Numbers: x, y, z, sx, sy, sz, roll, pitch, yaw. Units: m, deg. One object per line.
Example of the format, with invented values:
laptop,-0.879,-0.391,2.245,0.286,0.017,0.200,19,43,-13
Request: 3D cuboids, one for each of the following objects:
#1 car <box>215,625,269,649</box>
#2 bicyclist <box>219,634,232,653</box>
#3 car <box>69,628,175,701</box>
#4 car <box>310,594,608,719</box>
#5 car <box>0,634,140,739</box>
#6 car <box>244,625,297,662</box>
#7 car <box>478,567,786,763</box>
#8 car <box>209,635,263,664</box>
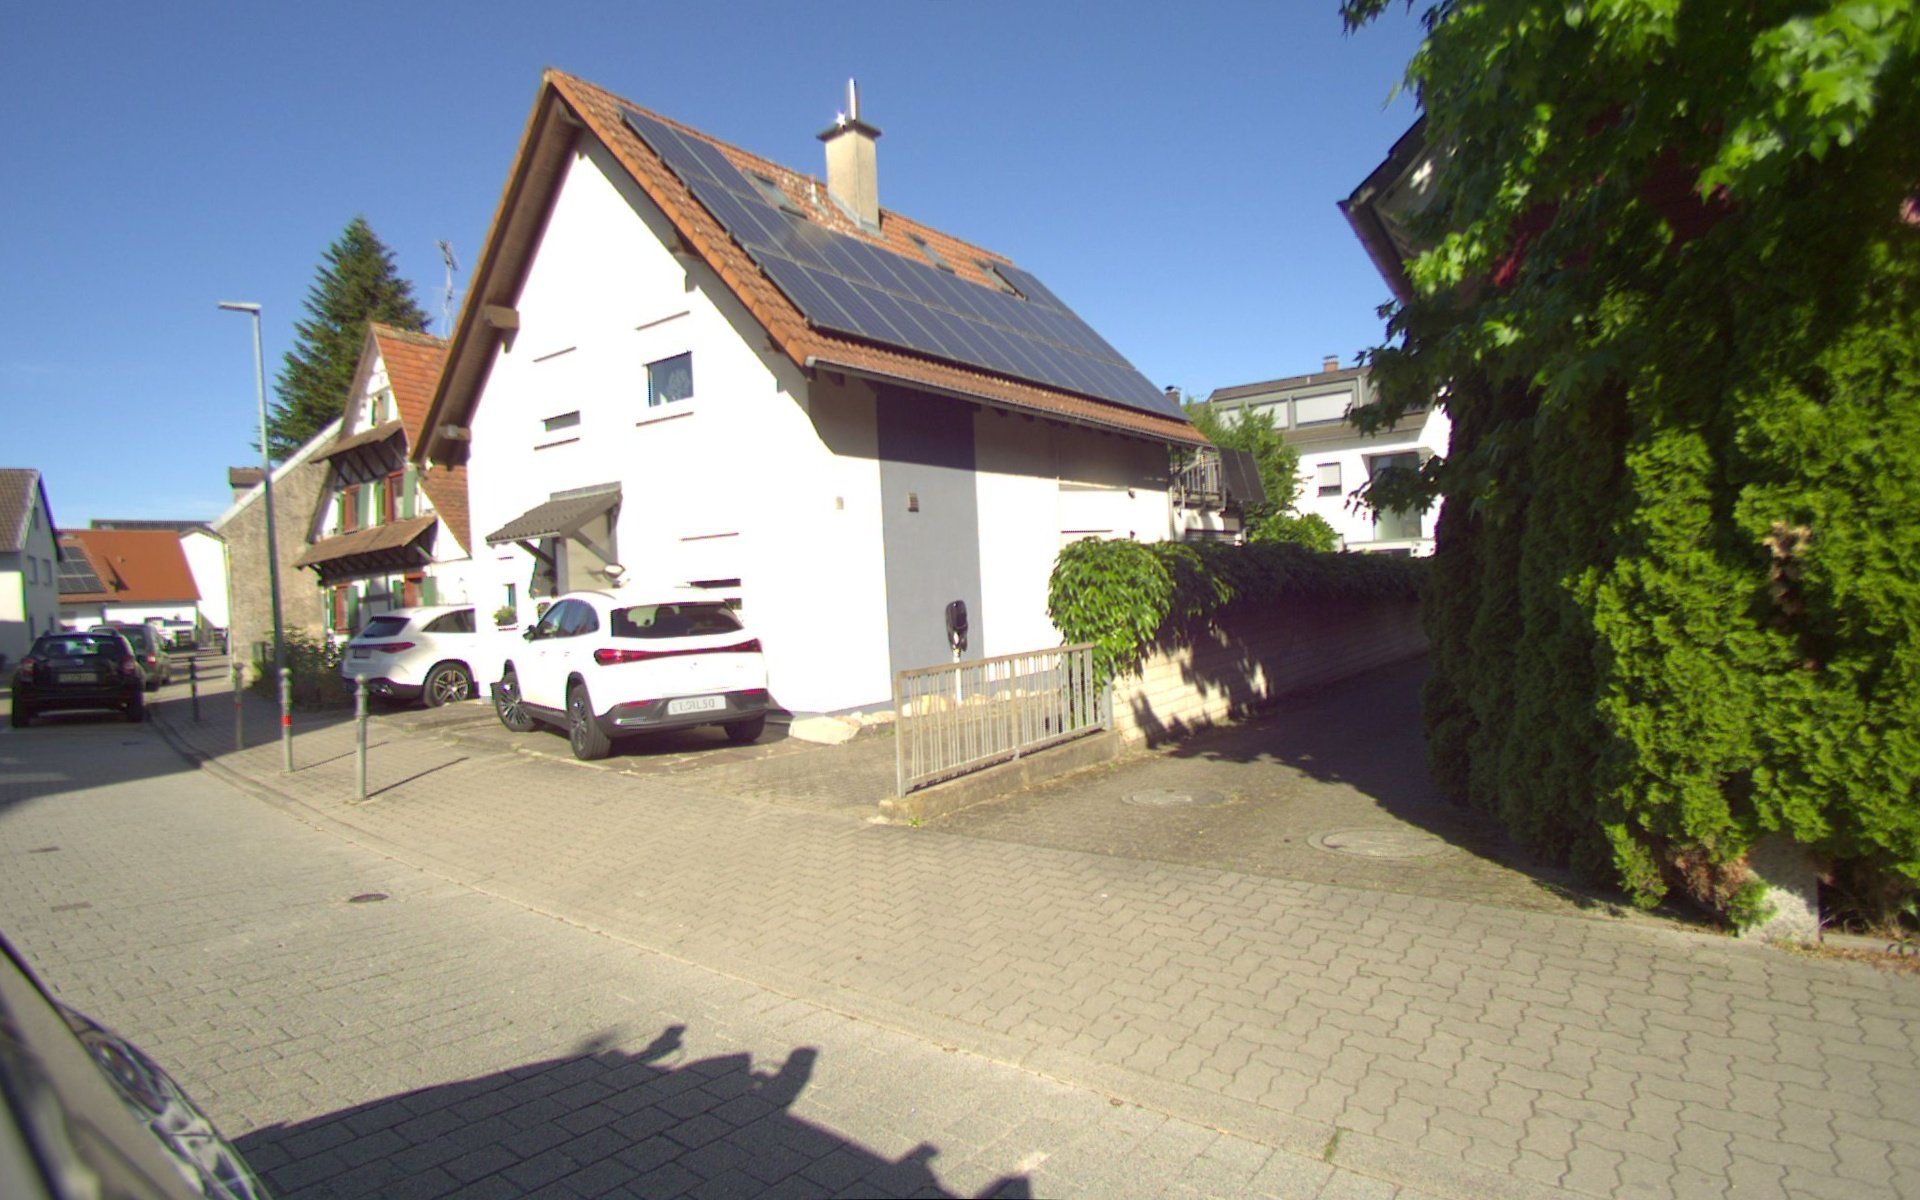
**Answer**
car,-67.250,3.478,94.874,3.932,2.029,1.847,-3,-1,-30
bicyclist,-53.079,3.159,73.107,0.573,1.330,0.610,-1,-1,-18
car,-22.927,1.721,27.837,1.807,1.803,4.364,0,-2,-34
car,-8.289,0.871,17.048,1.996,1.600,3.954,-4,2,35
car,-16.341,1.499,18.643,1.809,1.684,4.359,1,-2,-40
car,-45.853,2.844,67.398,2.026,2.263,4.875,-2,-1,-24
car,-3.774,0.591,11.068,1.794,1.607,4.455,-4,1,-36
car,-44.156,2.976,61.812,1.862,1.602,4.013,-2,-1,-24
